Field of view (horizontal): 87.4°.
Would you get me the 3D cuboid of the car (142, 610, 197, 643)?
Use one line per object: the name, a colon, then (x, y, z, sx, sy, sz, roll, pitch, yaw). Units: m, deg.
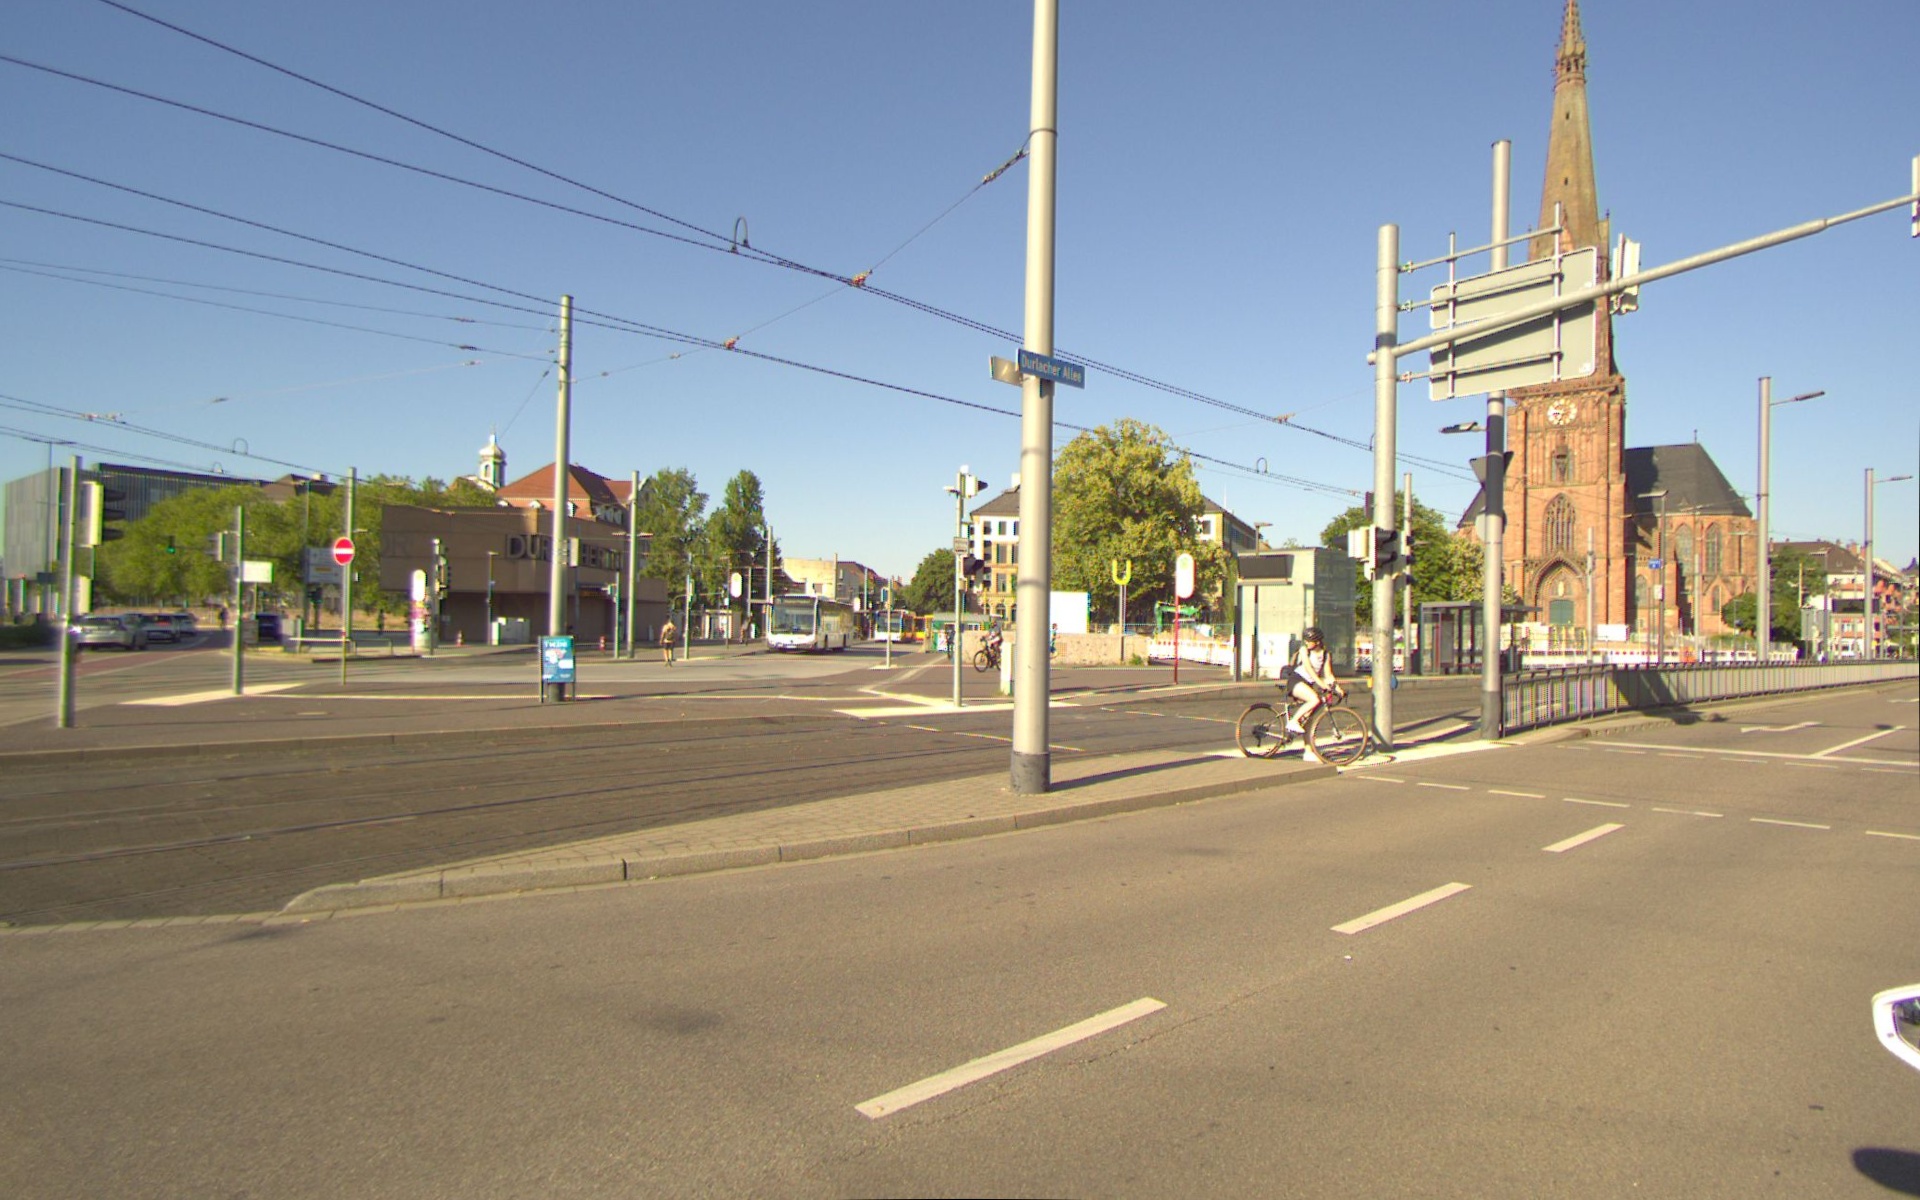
car: (-41.696, 1.391, 53.031, 1.701, 1.652, 3.841, 0, -1, -29)

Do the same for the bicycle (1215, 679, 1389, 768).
bicycle: (4.181, 1.478, 12.376, 1.870, 0.954, 0.810, -2, -4, 45)

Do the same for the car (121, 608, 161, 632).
car: (-61.523, 1.481, 75.479, 1.839, 1.652, 3.836, -2, 0, -33)

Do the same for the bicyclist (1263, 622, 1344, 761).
bicyclist: (4.229, 1.100, 12.356, 0.667, 1.637, 0.811, -2, -3, 44)

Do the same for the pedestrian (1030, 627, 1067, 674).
pedestrian: (3.487, 1.976, 39.540, 1.170, 1.792, 0.795, -1, -1, -41)

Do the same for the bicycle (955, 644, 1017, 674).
bicycle: (0.909, 2.048, 34.990, 1.979, 0.954, 0.808, 2, 3, -31)

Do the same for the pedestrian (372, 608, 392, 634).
pedestrian: (-36.041, 1.294, 62.596, 0.799, 1.588, 1.164, -1, -1, -44)

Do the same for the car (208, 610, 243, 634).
car: (-52.627, 1.576, 71.989, 1.839, 1.652, 3.834, -2, 0, -34)

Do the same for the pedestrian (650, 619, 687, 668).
pedestrian: (-10.427, 1.563, 35.936, 1.038, 1.708, 0.726, -2, 0, 32)

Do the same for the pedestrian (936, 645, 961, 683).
pedestrian: (-0.535, 2.951, 46.369, 1.038, 1.708, 0.727, -1, 0, -12)

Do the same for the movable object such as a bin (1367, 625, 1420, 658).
movable object such as a bin: (24.000, 2.272, 55.520, 3.835, 1.608, 1.162, -1, -1, -42)

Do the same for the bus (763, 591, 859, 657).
bus: (-8.032, 1.256, 56.246, 2.785, 3.236, 12.665, -2, -1, 3)

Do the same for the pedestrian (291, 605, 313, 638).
pedestrian: (-36.564, 1.218, 55.818, 0.799, 1.792, 0.961, -1, -1, -44)

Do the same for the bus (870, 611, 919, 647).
bus: (-6.262, 2.710, 98.025, 3.186, 3.236, 12.665, -2, -1, 3)

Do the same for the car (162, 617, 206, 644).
car: (-48.867, 1.918, 63.329, 1.838, 1.652, 3.837, 1, -1, -32)

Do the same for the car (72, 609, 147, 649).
car: (-34.076, 1.168, 40.341, 1.829, 1.441, 4.388, 4, -3, -35)

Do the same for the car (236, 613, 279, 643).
car: (-41.196, 1.637, 58.979, 1.845, 1.652, 4.001, -2, 0, -33)

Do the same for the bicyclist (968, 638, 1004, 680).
bicyclist: (0.914, 2.048, 34.988, 0.892, 1.363, 0.808, 2, 3, -31)

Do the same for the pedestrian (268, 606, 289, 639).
pedestrian: (-37.443, 1.235, 55.190, 0.799, 1.792, 0.951, -1, -1, -44)
